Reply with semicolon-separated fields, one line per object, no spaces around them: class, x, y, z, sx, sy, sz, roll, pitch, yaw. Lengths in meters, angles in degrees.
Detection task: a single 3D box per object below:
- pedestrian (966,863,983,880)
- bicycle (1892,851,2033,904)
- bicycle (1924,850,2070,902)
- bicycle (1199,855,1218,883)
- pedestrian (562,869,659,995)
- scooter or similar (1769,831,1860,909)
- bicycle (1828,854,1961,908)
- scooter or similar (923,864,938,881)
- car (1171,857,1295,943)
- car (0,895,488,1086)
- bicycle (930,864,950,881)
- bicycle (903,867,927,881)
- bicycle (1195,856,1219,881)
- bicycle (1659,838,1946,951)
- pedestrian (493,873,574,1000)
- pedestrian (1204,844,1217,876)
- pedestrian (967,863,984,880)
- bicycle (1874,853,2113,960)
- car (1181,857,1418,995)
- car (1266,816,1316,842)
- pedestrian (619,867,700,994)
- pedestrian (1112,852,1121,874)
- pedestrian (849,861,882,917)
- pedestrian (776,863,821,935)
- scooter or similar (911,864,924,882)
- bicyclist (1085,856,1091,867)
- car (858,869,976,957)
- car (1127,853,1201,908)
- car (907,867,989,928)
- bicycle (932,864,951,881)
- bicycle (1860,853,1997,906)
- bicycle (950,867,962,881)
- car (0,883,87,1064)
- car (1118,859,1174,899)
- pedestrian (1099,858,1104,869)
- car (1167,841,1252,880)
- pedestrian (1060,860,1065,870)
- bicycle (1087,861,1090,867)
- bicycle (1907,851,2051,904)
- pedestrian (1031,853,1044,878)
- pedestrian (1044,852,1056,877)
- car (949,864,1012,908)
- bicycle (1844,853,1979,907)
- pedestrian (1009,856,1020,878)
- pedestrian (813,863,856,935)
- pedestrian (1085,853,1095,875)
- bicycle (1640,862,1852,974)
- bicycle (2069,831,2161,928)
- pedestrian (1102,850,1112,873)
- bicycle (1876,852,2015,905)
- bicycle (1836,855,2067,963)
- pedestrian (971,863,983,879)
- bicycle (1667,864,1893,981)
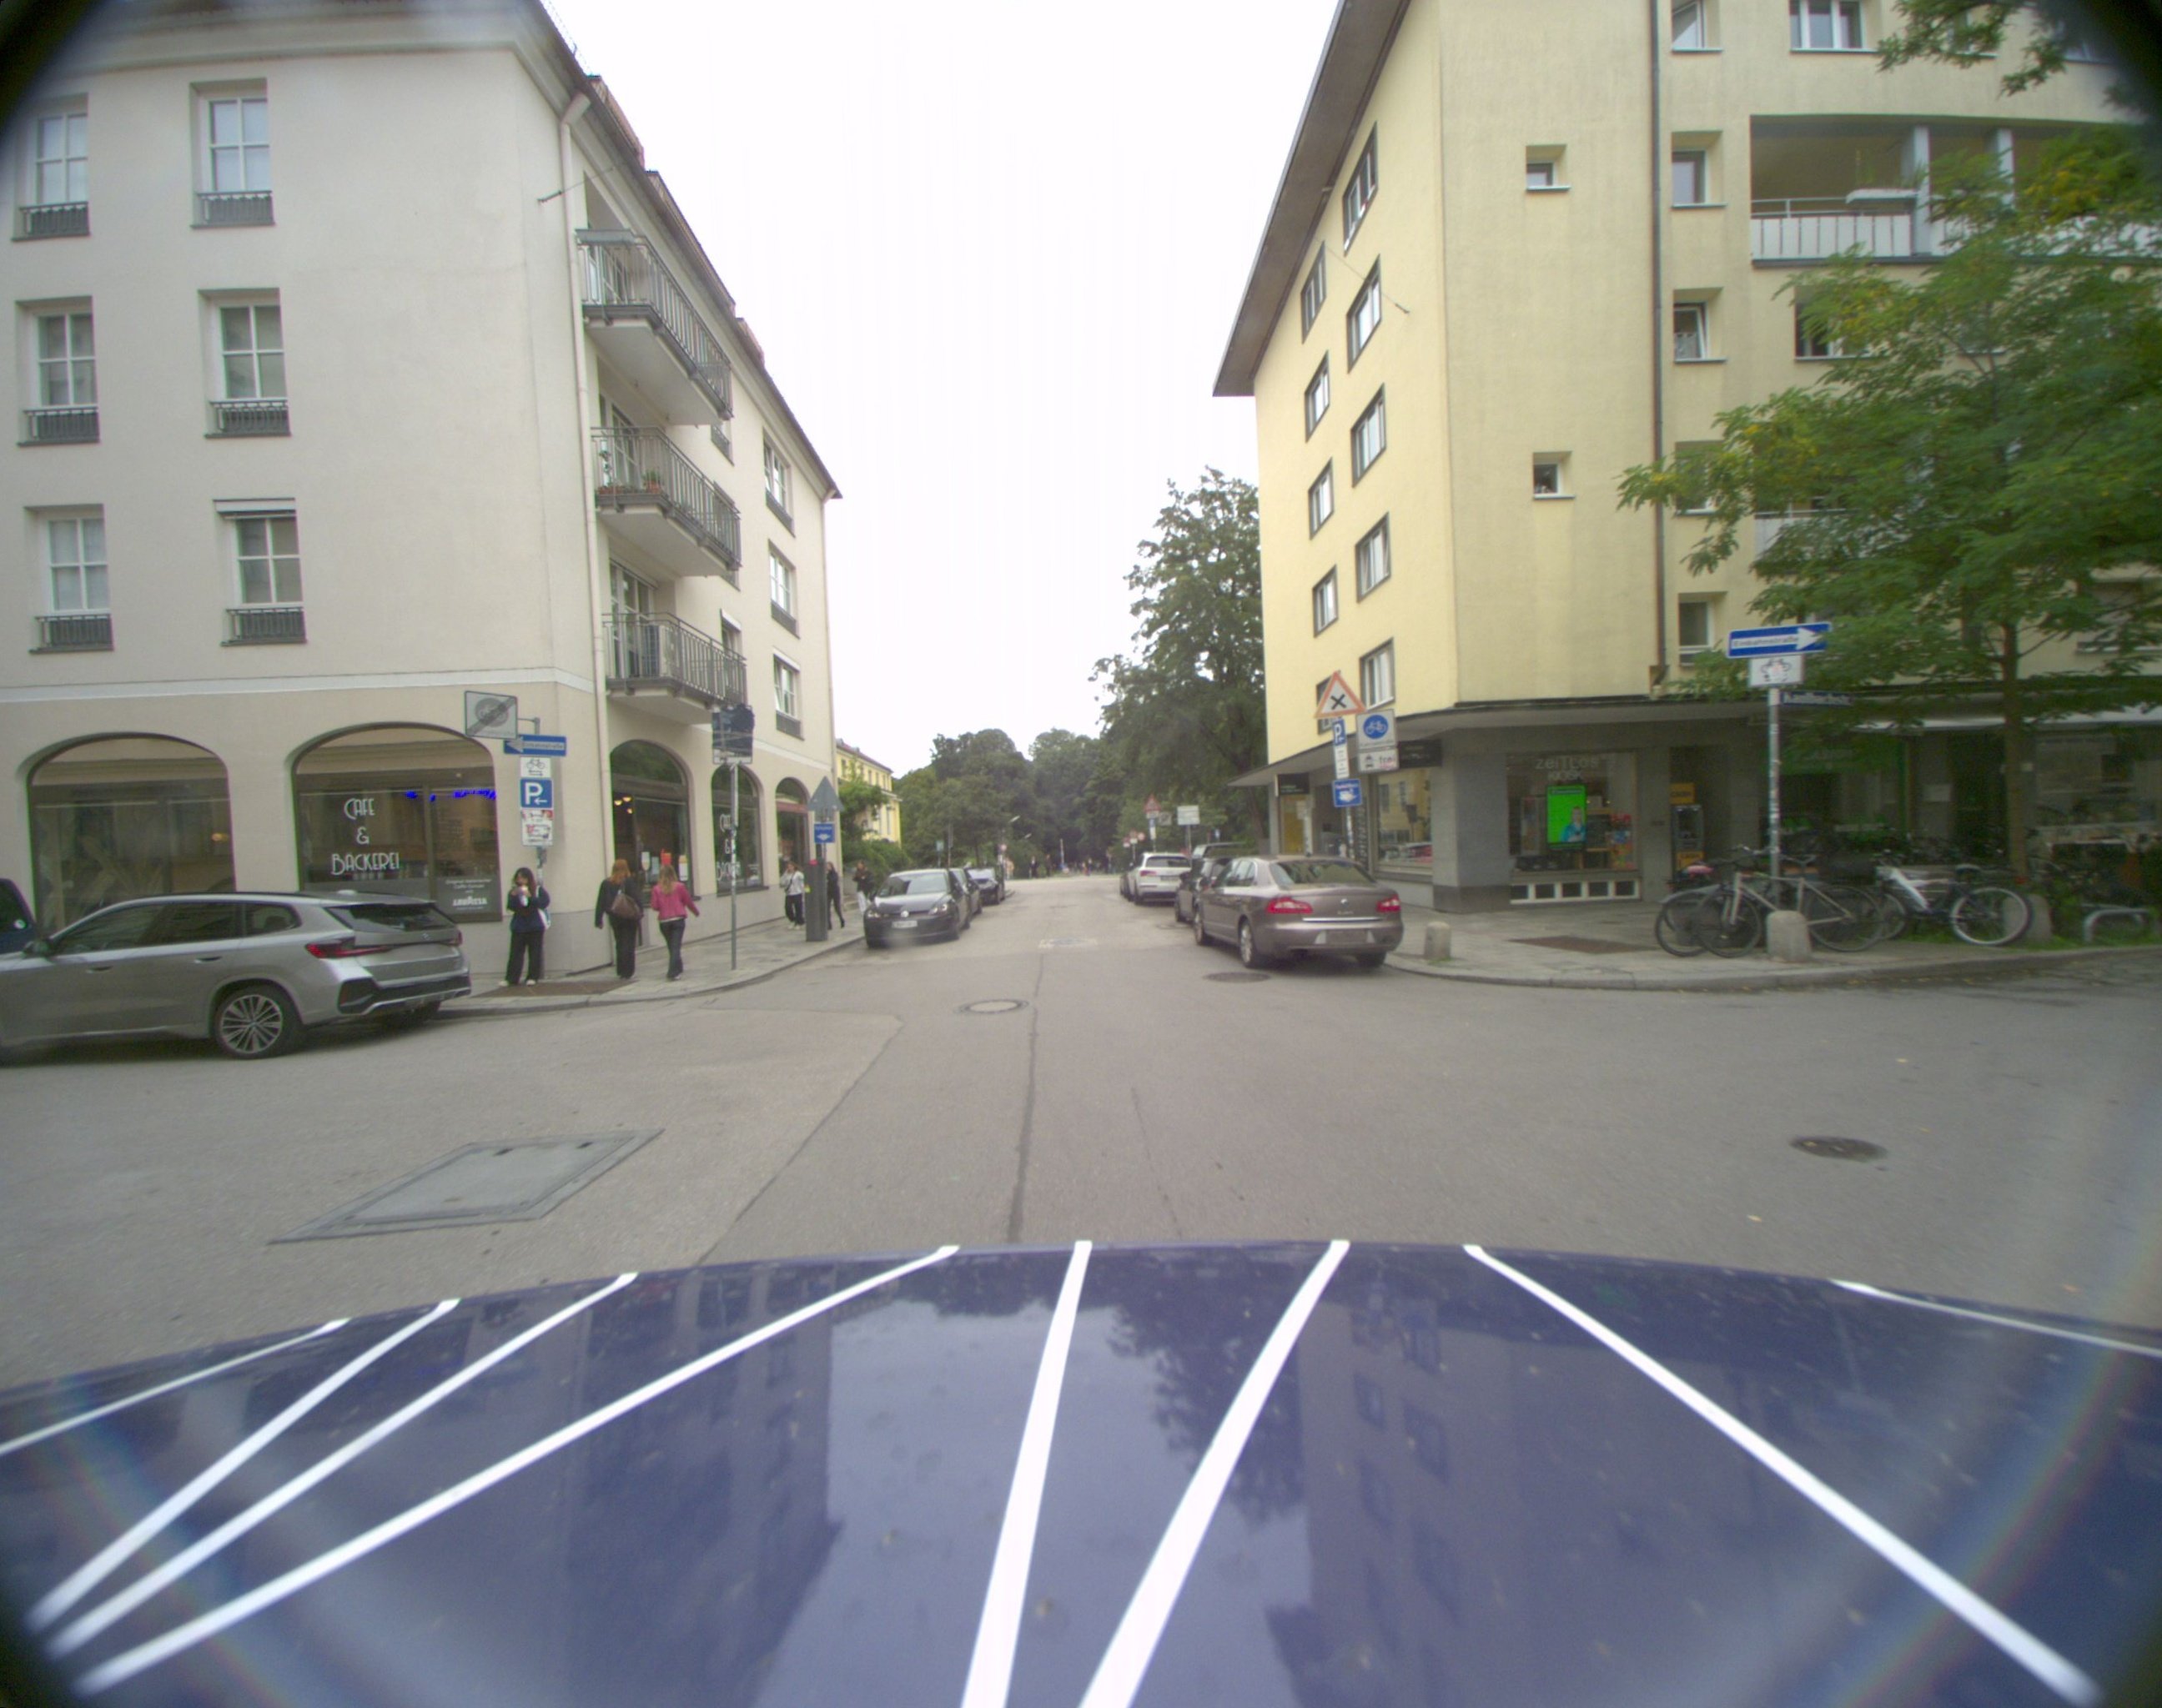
pedestrian;-8.389;1.394;59.737;1.217;1.239;0.639;-4;-2;-12
bicycle;14.648;0.370;12.694;0.293;0.776;1.721;-2;2;-3
bicycle;15.247;0.339;12.717;0.293;0.776;1.721;-2;2;-3
bicycle;5.914;0.675;35.306;0.563;1.203;1.854;-3;1;2
pedestrian;-6.498;1.042;10.549;0.660;1.611;0.979;-2;2;-2
scooter or similar;12.224;0.244;12.663;1.205;1.194;0.996;-4;3;-42
bicycle;13.437;0.414;12.627;0.293;0.776;1.721;-2;2;-3
scooter or similar;-10.548;1.294;53.082;1.114;1.205;0.324;-2;-1;36
car;2.933;0.829;15.530;1.683;1.463;4.097;-1;0;0
car;-8.975;1.325;7.930;4.099;1.595;1.755;-2;-1;-3
bicycle;-10.209;1.358;55.068;0.202;1.184;1.658;-2;-2;40
bicycle;-11.770;1.439;53.825;1.656;0.987;0.248;0;-1;-25
bicycle;6.248;0.690;37.537;0.582;1.119;2.301;-4;0;23
bicycle;9.246;0.497;9.819;2.849;1.205;0.817;-4;2;2
pedestrian;-7.443;1.098;10.351;0.636;1.638;0.526;-2;2;-9
pedestrian;7.264;0.350;42.671;0.560;1.788;0.641;-3;-1;17
pedestrian;-8.414;1.392;60.676;1.178;1.285;0.639;-4;-2;-12
bicycle;9.629;0.502;8.123;0.381;0.960;1.715;-4;2;-4
car;2.757;0.802;10.893;1.684;1.463;4.948;-1;0;-4
car;19.430;-2.309;70.257;3.958;2.093;1.908;-3;1;30
pedestrian;-5.841;1.025;10.585;0.473;1.616;1.069;-2;2;-2
pedestrian;2.881;0.758;62.155;0.634;1.771;0.801;-1;-1;-1
pedestrian;-6.568;1.059;23.192;0.707;1.613;0.880;-2;2;-2
pedestrian;-6.857;1.081;18.460;0.707;1.652;0.880;-2;2;-2
scooter or similar;-11.392;1.298;52.929;0.396;1.240;1.391;-2;-1;8
bicyclist;1.210;1.246;129.408;0.856;1.792;0.767;-1;1;2
car;-3.290;1.127;16.024;1.680;1.416;4.202;-5;0;-3
car;2.548;0.807;24.332;1.807;1.574;4.338;-1;-1;-1
car;-3.733;1.167;22.060;1.650;1.416;4.508;-5;0;-2
bicycle;-10.068;1.345;54.930;0.169;1.191;1.658;-2;-2;40
bicycle;14.041;0.393;12.660;0.293;0.776;1.721;-2;2;-3
bicycle;-9.345;1.470;56.824;0.307;1.032;1.656;-1;-2;14
car;-13.648;1.332;7.672;4.452;1.905;1.975;-2;-2;-3
car;2.488;0.933;29.837;1.750;1.402;4.097;-1;0;-1
pedestrian;3.284;1.514;121.831;0.686;1.662;0.774;-4;-2;0
car;7.481;0.342;44.169;4.422;1.990;1.933;-3;2;-16
pedestrian;-3.077;1.889;128.849;0.686;1.662;0.774;-4;-2;0
bicycle;1.228;1.729;129.446;0.483;1.034;1.946;-2;0;2
bicycle;14.944;0.358;12.708;0.293;0.776;1.721;-2;2;-3
pedestrian;-2.994;0.777;52.258;0.686;1.662;0.774;-4;-2;0
pedestrian;-2.149;0.744;52.632;0.639;1.662;0.774;-4;-2;0
car;-3.747;1.168;29.032;1.807;1.402;4.656;-3;0;-1
bicycle;13.736;0.405;12.638;0.293;0.776;1.721;-2;2;-3
pedestrian;-5.208;1.036;59.281;0.653;1.676;0.976;-4;-2;0
pedestrian;-6.004;1.067;18.516;0.707;1.652;0.880;-2;2;-2
pedestrian;0.747;0.822;63.495;0.751;1.822;1.115;-1;-1;-1
bicycle;7.064;0.670;8.105;1.822;1.029;0.392;-4;0;2
bicycle;14.777;0.305;10.003;2.372;1.205;0.817;-1;2;2
pedestrian;2.113;0.608;62.152;0.708;1.892;0.804;-1;-1;-1
bicycle;14.343;0.381;12.677;0.293;0.776;1.721;-2;2;-3
bicycle;9.135;0.524;8.086;0.381;0.960;1.715;-4;2;-4
pedestrian;-8.407;1.403;61.328;0.887;1.227;0.550;-4;-2;-12
bicycle;7.054;0.683;7.701;1.822;1.029;0.392;-4;0;2
